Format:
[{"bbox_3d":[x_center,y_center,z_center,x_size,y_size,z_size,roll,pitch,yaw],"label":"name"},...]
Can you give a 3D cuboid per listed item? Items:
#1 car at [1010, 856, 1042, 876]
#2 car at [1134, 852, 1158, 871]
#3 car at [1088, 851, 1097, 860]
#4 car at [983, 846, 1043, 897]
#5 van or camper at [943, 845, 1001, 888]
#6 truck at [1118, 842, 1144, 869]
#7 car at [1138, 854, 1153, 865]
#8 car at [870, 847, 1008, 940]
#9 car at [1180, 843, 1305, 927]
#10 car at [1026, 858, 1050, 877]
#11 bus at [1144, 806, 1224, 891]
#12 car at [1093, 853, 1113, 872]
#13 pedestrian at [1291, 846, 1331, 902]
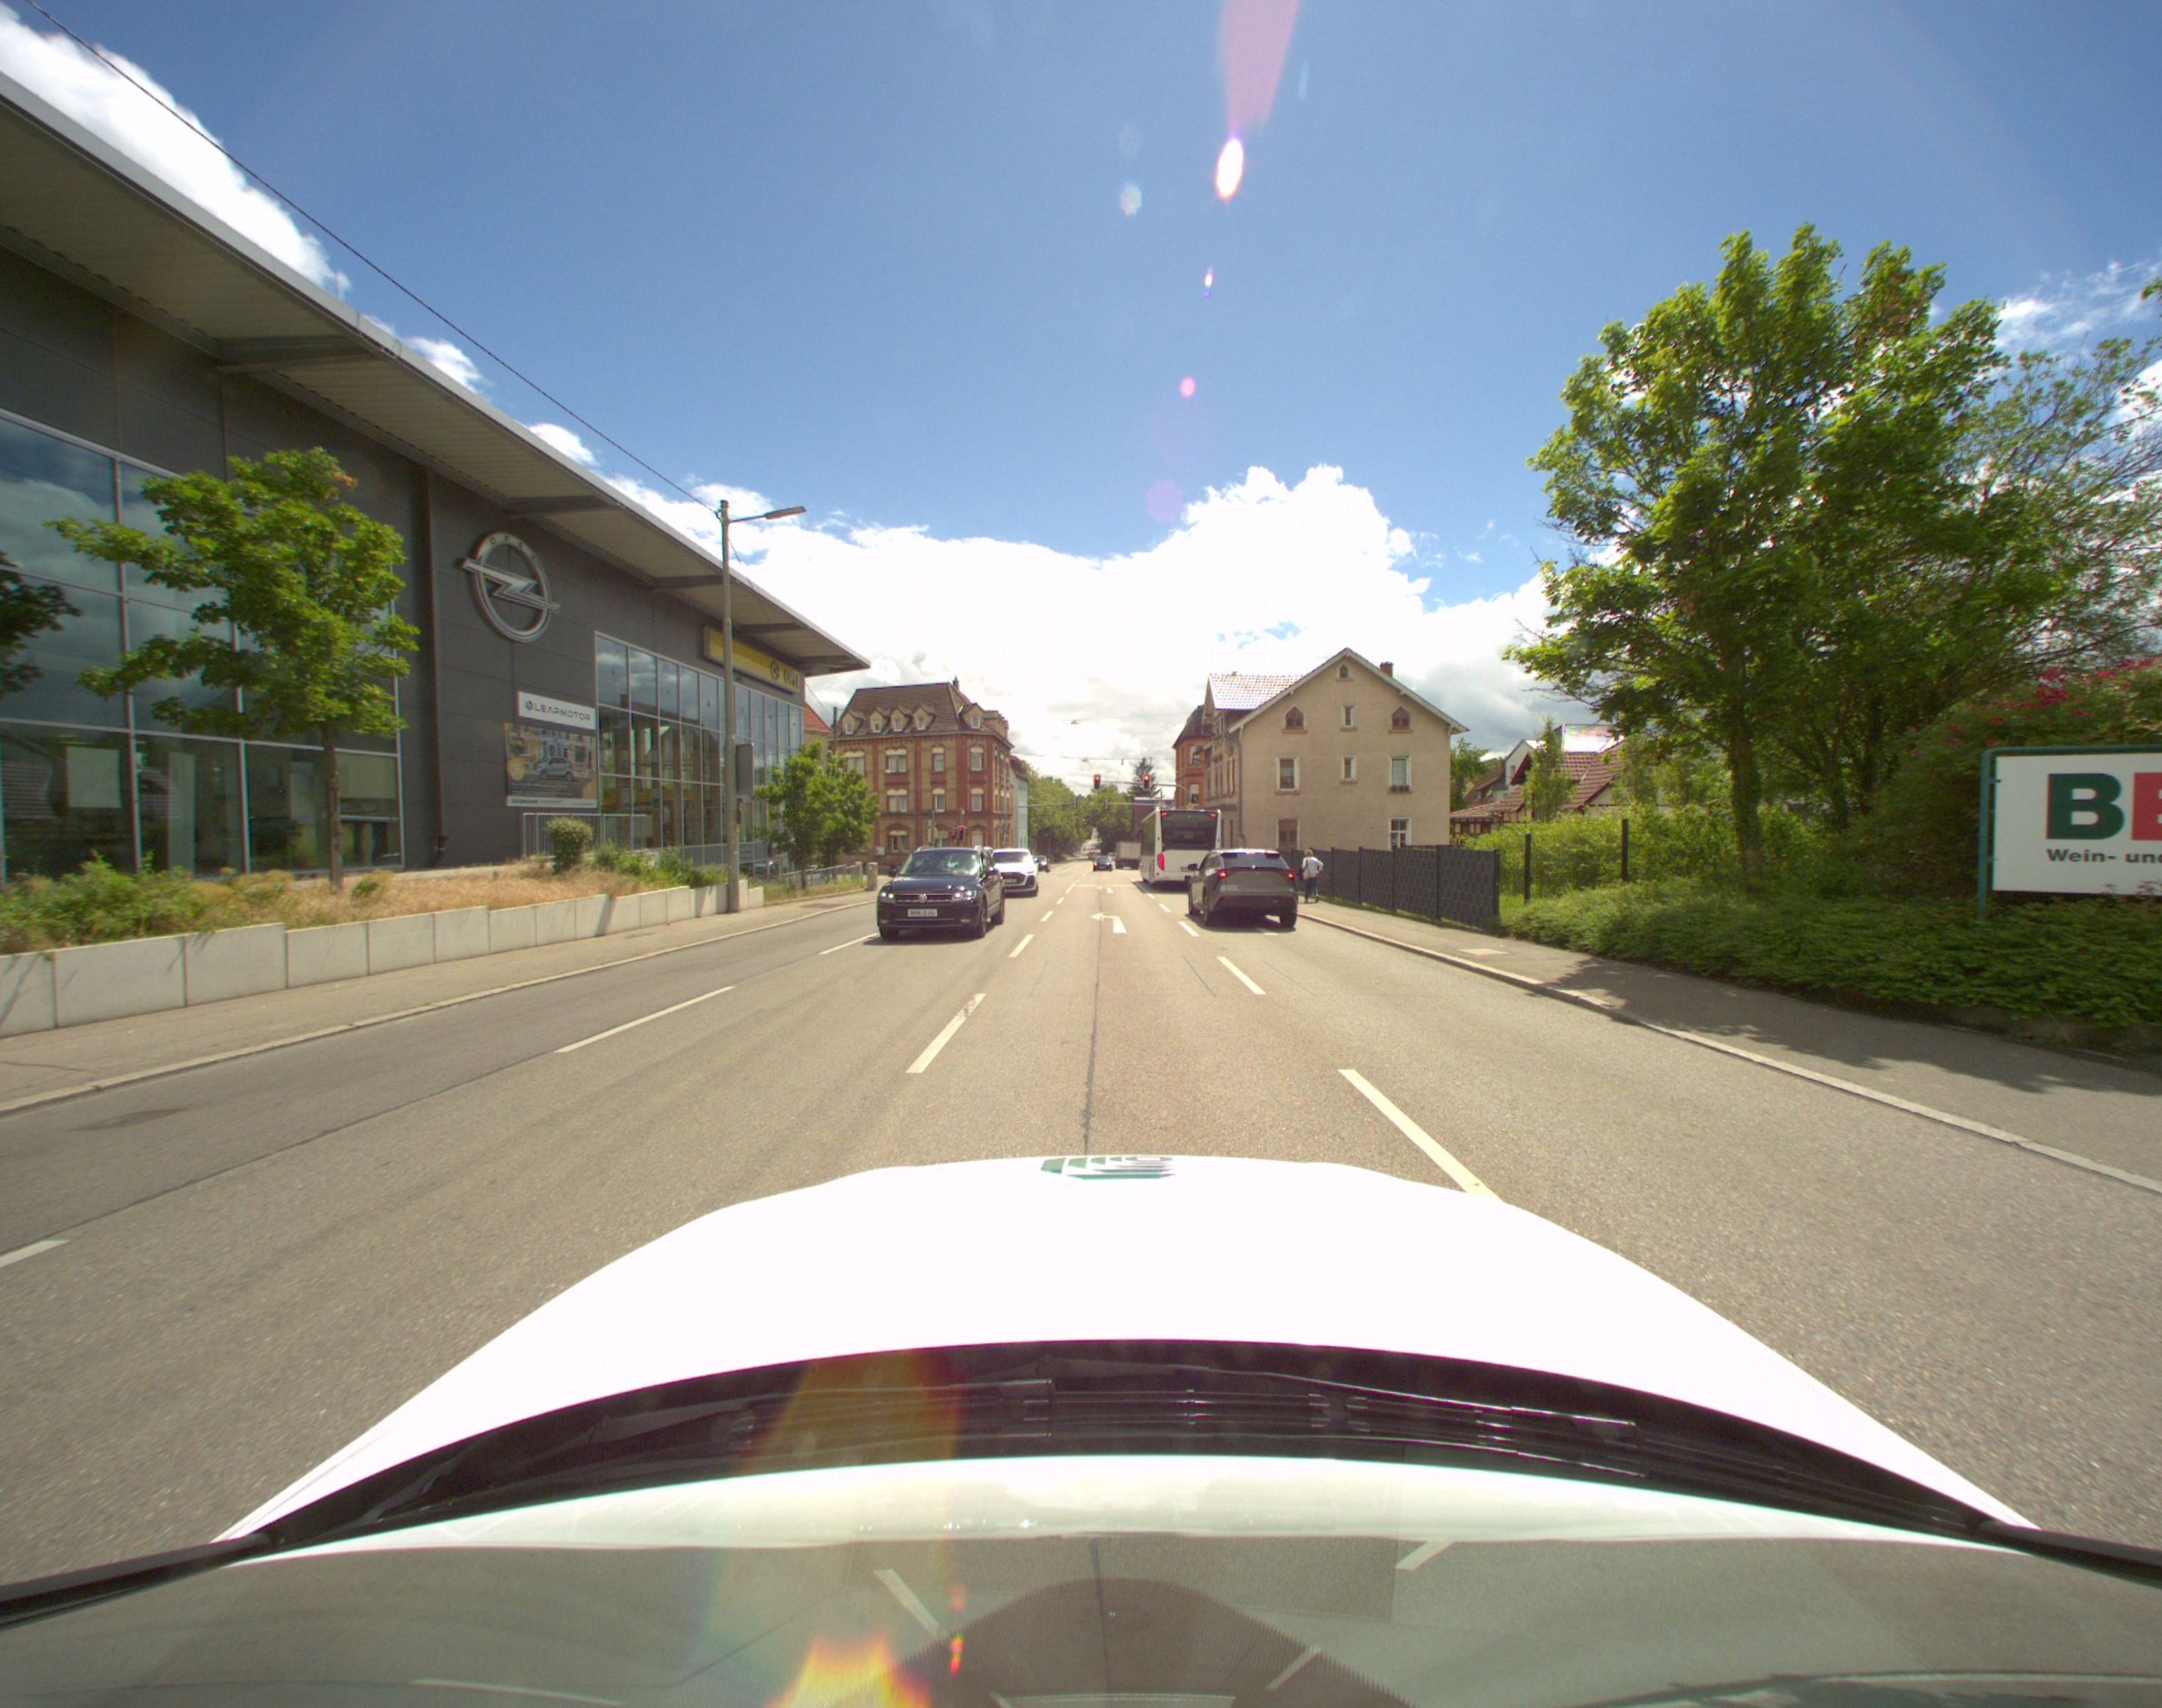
[{"bbox_3d":[-3.833,0.810,57.038,1.857,1.319,4.260,-1,0,1],"label":"car"},{"bbox_3d":[5.932,0.681,74.831,1.924,1.583,4.209,-2,0,1],"label":"car"},{"bbox_3d":[2.476,0.275,177.514,1.826,1.881,4.000,-1,1,0],"label":"car"},{"bbox_3d":[-2.333,0.569,28.942,1.859,1.656,4.376,0,0,-1],"label":"car"},{"bbox_3d":[-5.085,0.536,38.670,1.963,1.914,5.129,0,0,1],"label":"van or camper"},{"bbox_3d":[5.965,0.146,97.975,2.657,3.108,9.037,-2,0,1],"label":"truck"},{"bbox_3d":[9.825,0.850,124.580,1.924,1.583,4.209,-2,0,1],"label":"car"},{"bbox_3d":[-2.551,0.647,15.651,1.857,1.540,4.107,0,0,1],"label":"car"},{"bbox_3d":[3.410,0.570,18.028,1.924,1.583,4.208,-1,1,0],"label":"car"},{"bbox_3d":[-3.924,1.198,74.568,1.857,1.666,4.260,-1,0,1],"label":"car"},{"bbox_3d":[4.369,-0.355,36.914,2.790,3.197,12.208,0,1,3],"label":"bus"},{"bbox_3d":[2.039,0.763,76.577,1.857,1.666,4.260,-1,0,1],"label":"car"},{"bbox_3d":[6.771,0.574,24.018,0.810,1.581,1.070,-3,0,1],"label":"pedestrian"}]
